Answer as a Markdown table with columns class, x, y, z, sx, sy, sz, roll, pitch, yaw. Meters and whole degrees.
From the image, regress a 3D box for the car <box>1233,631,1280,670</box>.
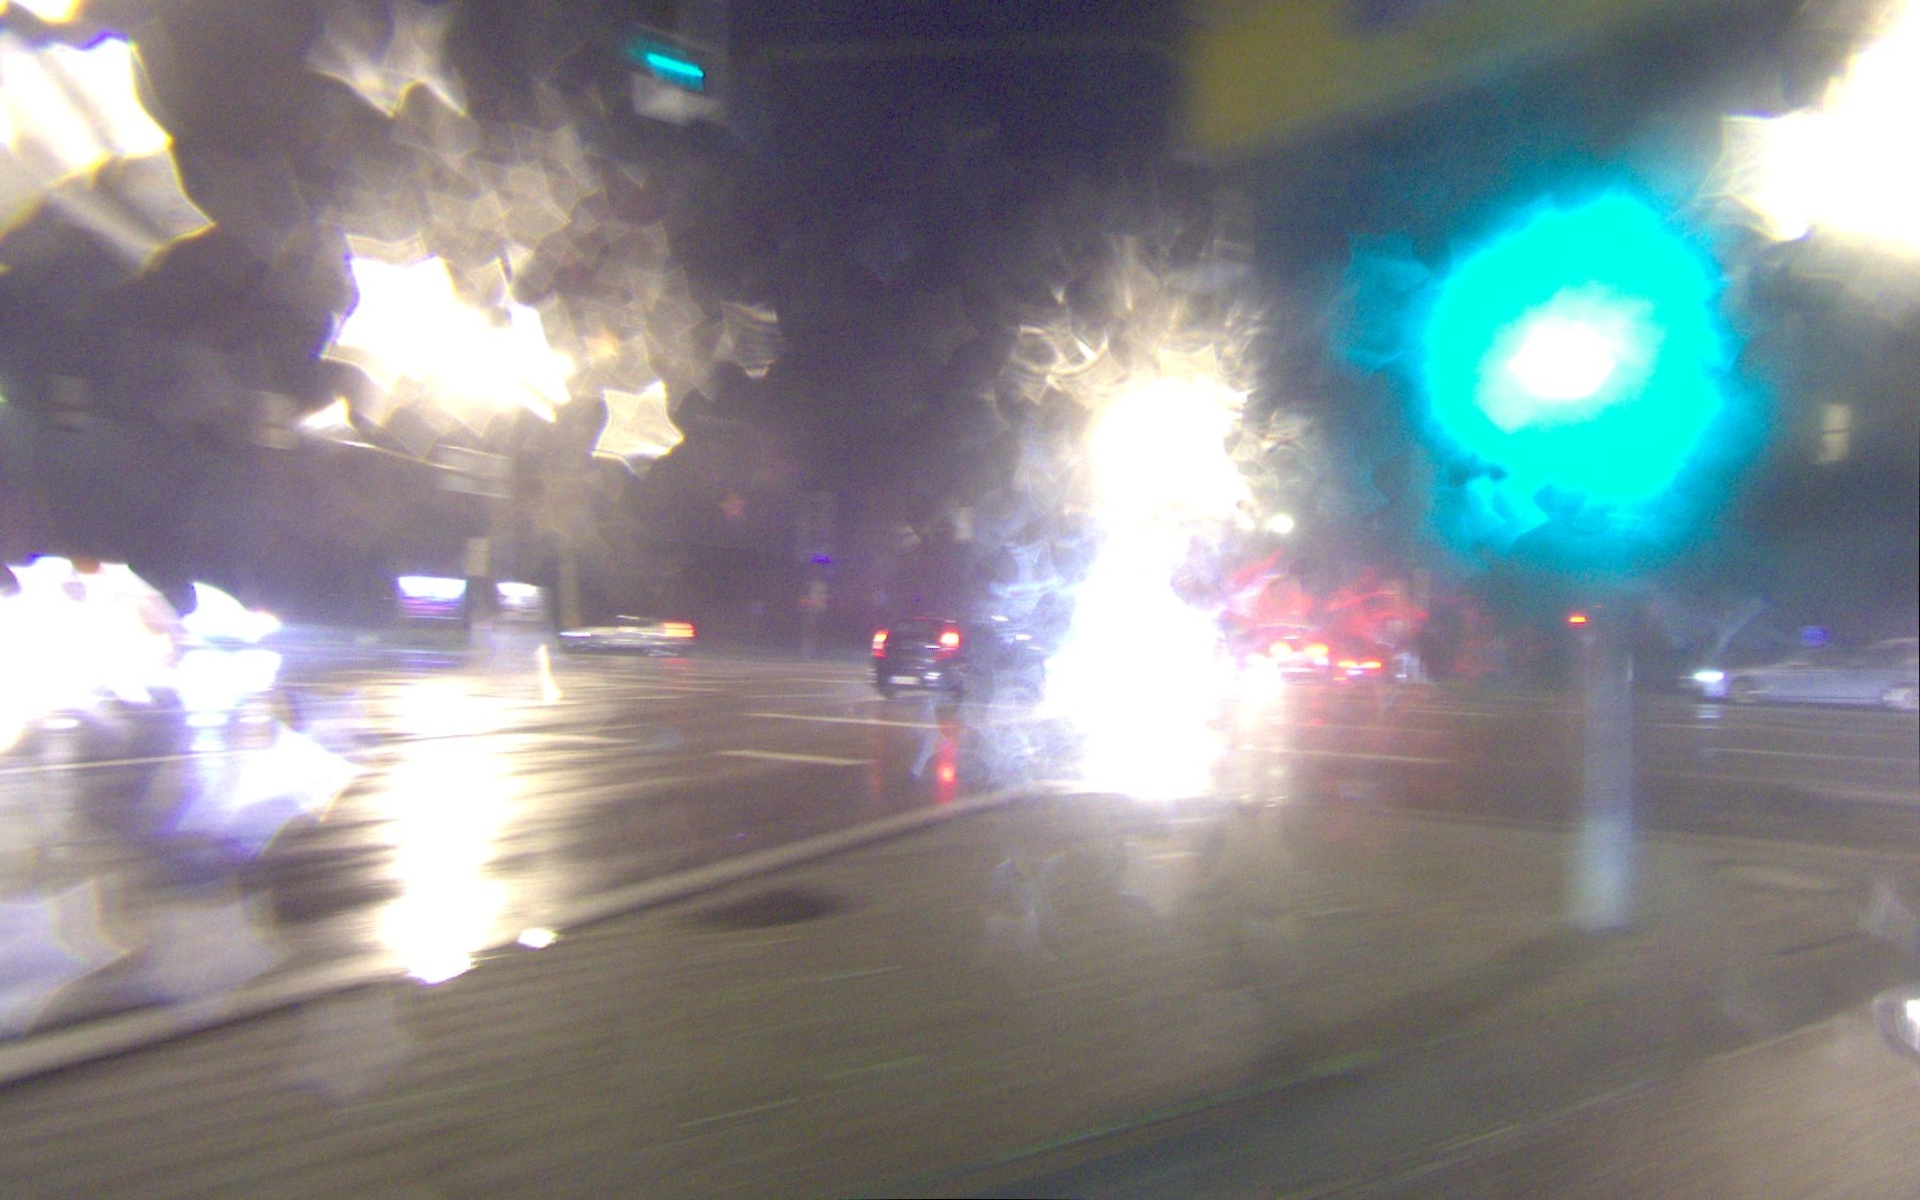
| class | x | y | z | sx | sy | sz | roll | pitch | yaw |
| --- | --- | --- | --- | --- | --- | --- | --- | --- | --- |
| car | 18.035 | 3.023 | 61.003 | 1.750 | 2.106 | 3.992 | 3 | 1 | 30 |

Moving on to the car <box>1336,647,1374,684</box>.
| class | x | y | z | sx | sy | sz | roll | pitch | yaw |
| --- | --- | --- | --- | --- | --- | --- | --- | --- | --- |
| car | 21.636 | 3.536 | 54.942 | 1.798 | 1.675 | 4.478 | 3 | 1 | 23 |

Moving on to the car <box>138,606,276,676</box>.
| class | x | y | z | sx | sy | sz | roll | pitch | yaw |
| --- | --- | --- | --- | --- | --- | --- | --- | --- | --- |
| car | -23.364 | 1.223 | 31.162 | 4.068 | 1.878 | 1.666 | 3 | 0 | 25 |

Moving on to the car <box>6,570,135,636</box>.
| class | x | y | z | sx | sy | sz | roll | pitch | yaw |
| --- | --- | --- | --- | --- | --- | --- | --- | --- | --- |
| car | -30.656 | 0.108 | 34.617 | 4.068 | 2.051 | 1.793 | 3 | 0 | 25 |

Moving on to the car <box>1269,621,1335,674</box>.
| class | x | y | z | sx | sy | sz | roll | pitch | yaw |
| --- | --- | --- | --- | --- | --- | --- | --- | --- | --- |
| car | 11.645 | 1.580 | 34.033 | 1.820 | 1.612 | 4.022 | 2 | -1 | 22 |

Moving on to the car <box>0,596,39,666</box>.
| class | x | y | z | sx | sy | sz | roll | pitch | yaw |
| --- | --- | --- | --- | --- | --- | --- | --- | --- | --- |
| car | -25.371 | 0.698 | 25.134 | 4.178 | 1.654 | 1.957 | 3 | 0 | 25 |

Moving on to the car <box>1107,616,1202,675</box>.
| class | x | y | z | sx | sy | sz | roll | pitch | yaw |
| --- | --- | --- | --- | --- | --- | --- | --- | --- | --- |
| car | 5.787 | 1.275 | 29.563 | 1.709 | 1.455 | 4.286 | 3 | 1 | 25 |

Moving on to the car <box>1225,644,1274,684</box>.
| class | x | y | z | sx | sy | sz | roll | pitch | yaw |
| --- | --- | --- | --- | --- | --- | --- | --- | --- | --- |
| car | 13.512 | 2.944 | 46.723 | 1.878 | 1.680 | 3.987 | 2 | -2 | 21 |

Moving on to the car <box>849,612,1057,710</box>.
| class | x | y | z | sx | sy | sz | roll | pitch | yaw |
| --- | --- | --- | --- | --- | --- | --- | --- | --- | --- |
| car | 0.022 | 0.993 | 17.477 | 1.803 | 1.426 | 4.114 | 2 | -1 | 29 |

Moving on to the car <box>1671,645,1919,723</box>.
| class | x | y | z | sx | sy | sz | roll | pitch | yaw |
| --- | --- | --- | --- | --- | --- | --- | --- | --- | --- |
| car | 19.459 | 1.891 | 23.147 | 4.710 | 1.446 | 1.765 | 2 | -1 | 23 |

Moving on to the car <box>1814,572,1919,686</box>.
| class | x | y | z | sx | sy | sz | roll | pitch | yaw |
| --- | --- | --- | --- | --- | --- | --- | --- | --- | --- |
| car | 25.114 | 0.803 | 24.940 | 5.510 | 2.746 | 2.251 | 3 | 1 | 31 |

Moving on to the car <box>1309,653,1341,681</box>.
| class | x | y | z | sx | sy | sz | roll | pitch | yaw |
| --- | --- | --- | --- | --- | --- | --- | --- | --- | --- |
| car | 26.129 | 4.741 | 71.792 | 1.799 | 1.662 | 3.998 | 4 | 1 | 24 |

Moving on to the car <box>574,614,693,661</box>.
| class | x | y | z | sx | sy | sz | roll | pitch | yaw |
| --- | --- | --- | --- | --- | --- | --- | --- | --- | --- |
| car | -12.119 | 1.381 | 37.531 | 3.966 | 1.494 | 1.832 | 3 | 1 | -11 |
